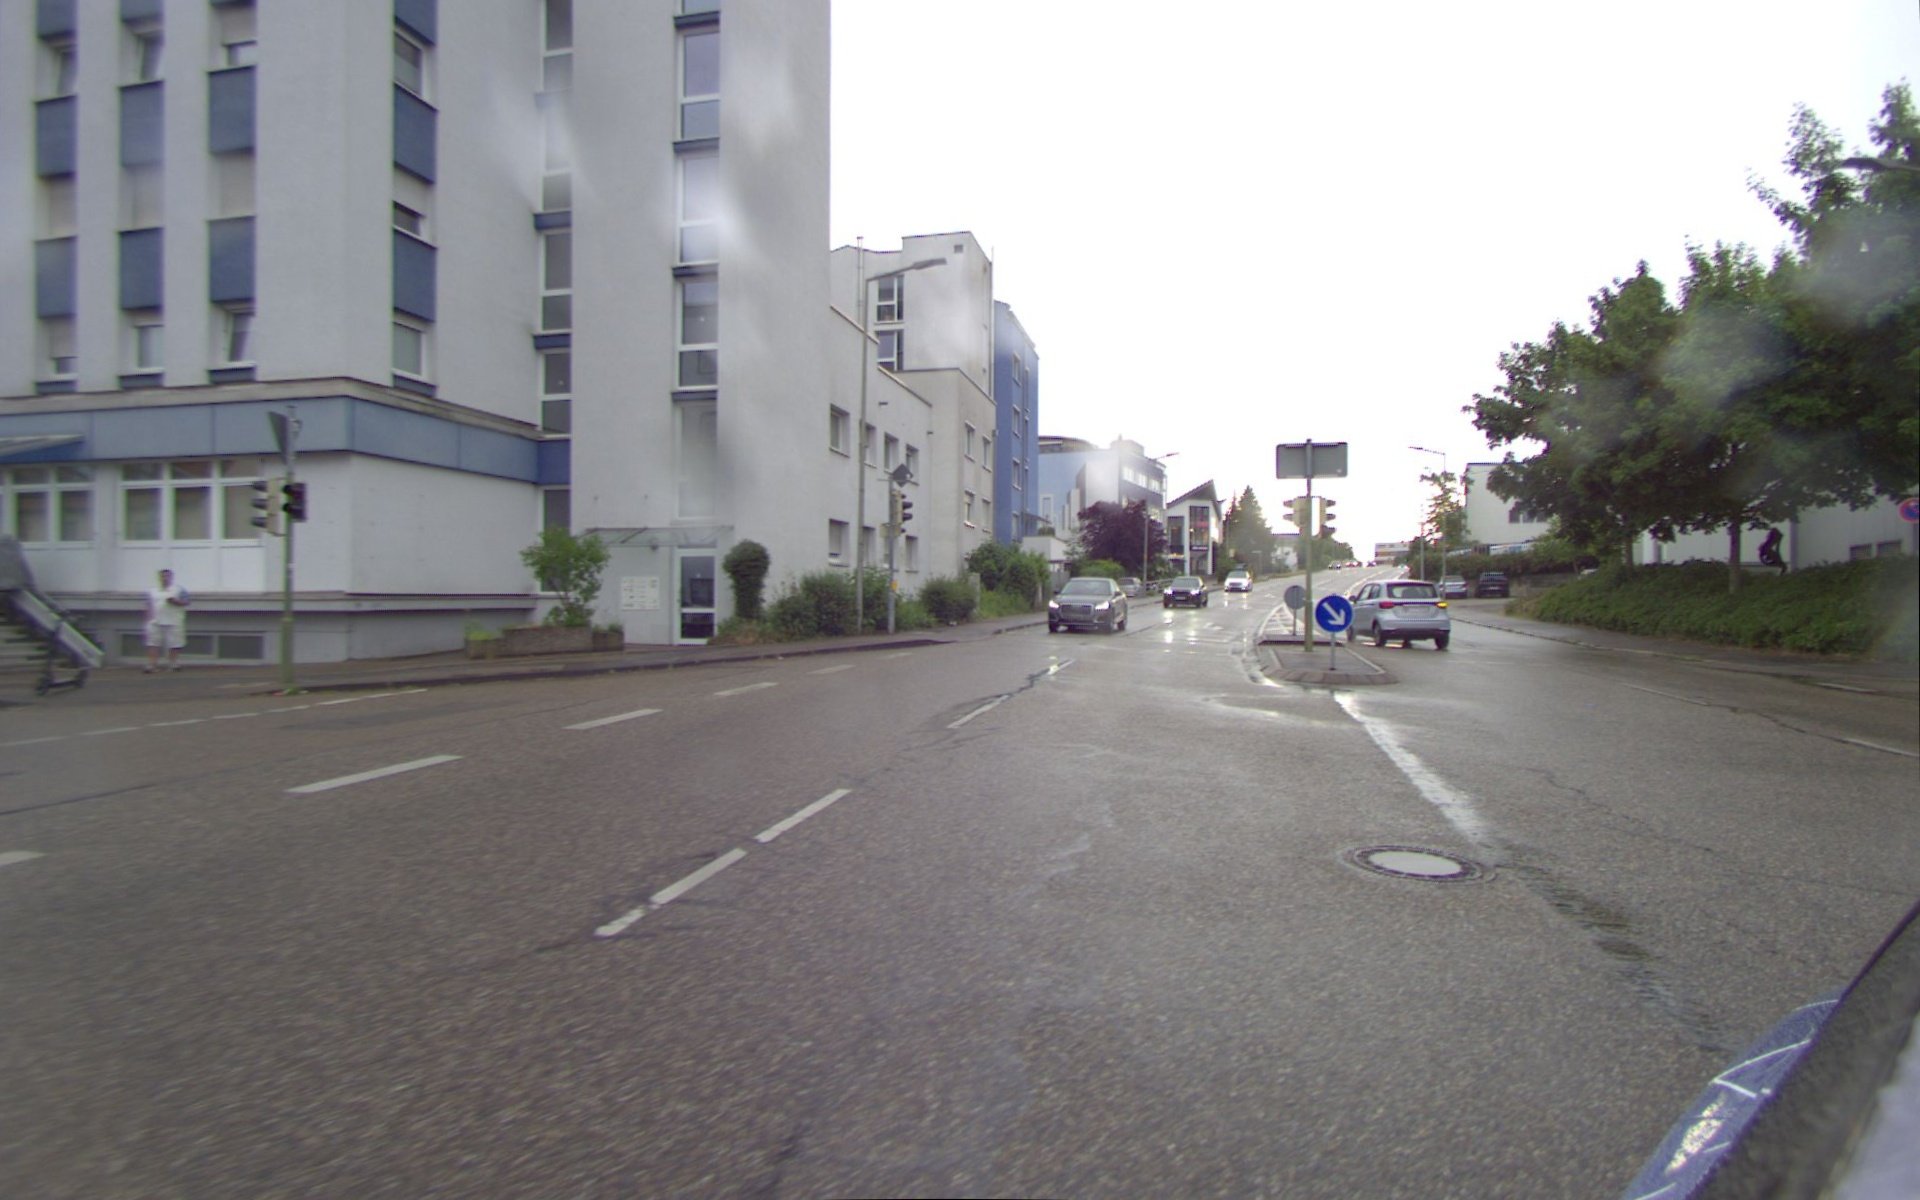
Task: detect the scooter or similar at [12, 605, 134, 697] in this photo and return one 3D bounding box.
[{"bbox_3d":[-13.061,0.729,14.932,0.787,1.243,1.061,-4,0,3],"label":"scooter or similar"}]

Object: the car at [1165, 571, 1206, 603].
[{"bbox_3d":[11.204,-0.678,50.111,1.730,1.497,3.980,-1,1,16],"label":"car"}]

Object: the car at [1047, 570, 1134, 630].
[{"bbox_3d":[3.780,-0.040,28.732,1.719,1.504,4.126,3,2,18],"label":"car"}]

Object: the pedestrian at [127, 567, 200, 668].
[{"bbox_3d":[-13.719,0.296,17.445,0.636,1.672,0.654,-4,0,13],"label":"pedestrian"}]

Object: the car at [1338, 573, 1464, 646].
[{"bbox_3d":[10.700,0.171,24.838,1.665,1.574,3.902,-2,1,5],"label":"car"}]

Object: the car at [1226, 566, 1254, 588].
[{"bbox_3d":[21.510,-1.768,77.715,1.875,1.564,3.997,-1,1,19],"label":"car"}]

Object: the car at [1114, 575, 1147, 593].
[{"bbox_3d":[12.629,-1.205,74.854,1.639,1.303,3.855,-1,1,21],"label":"car"}]

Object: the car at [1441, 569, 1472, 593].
[{"bbox_3d":[31.706,-1.221,64.668,1.721,1.497,3.984,-1,1,27],"label":"car"}]

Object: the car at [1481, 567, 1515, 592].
[{"bbox_3d":[33.869,-1.276,63.779,1.721,1.497,3.984,-1,1,27],"label":"car"}]

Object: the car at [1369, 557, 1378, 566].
[{"bbox_3d":[85.356,-7.913,208.976,1.809,1.708,3.971,1,1,22],"label":"car"}]
